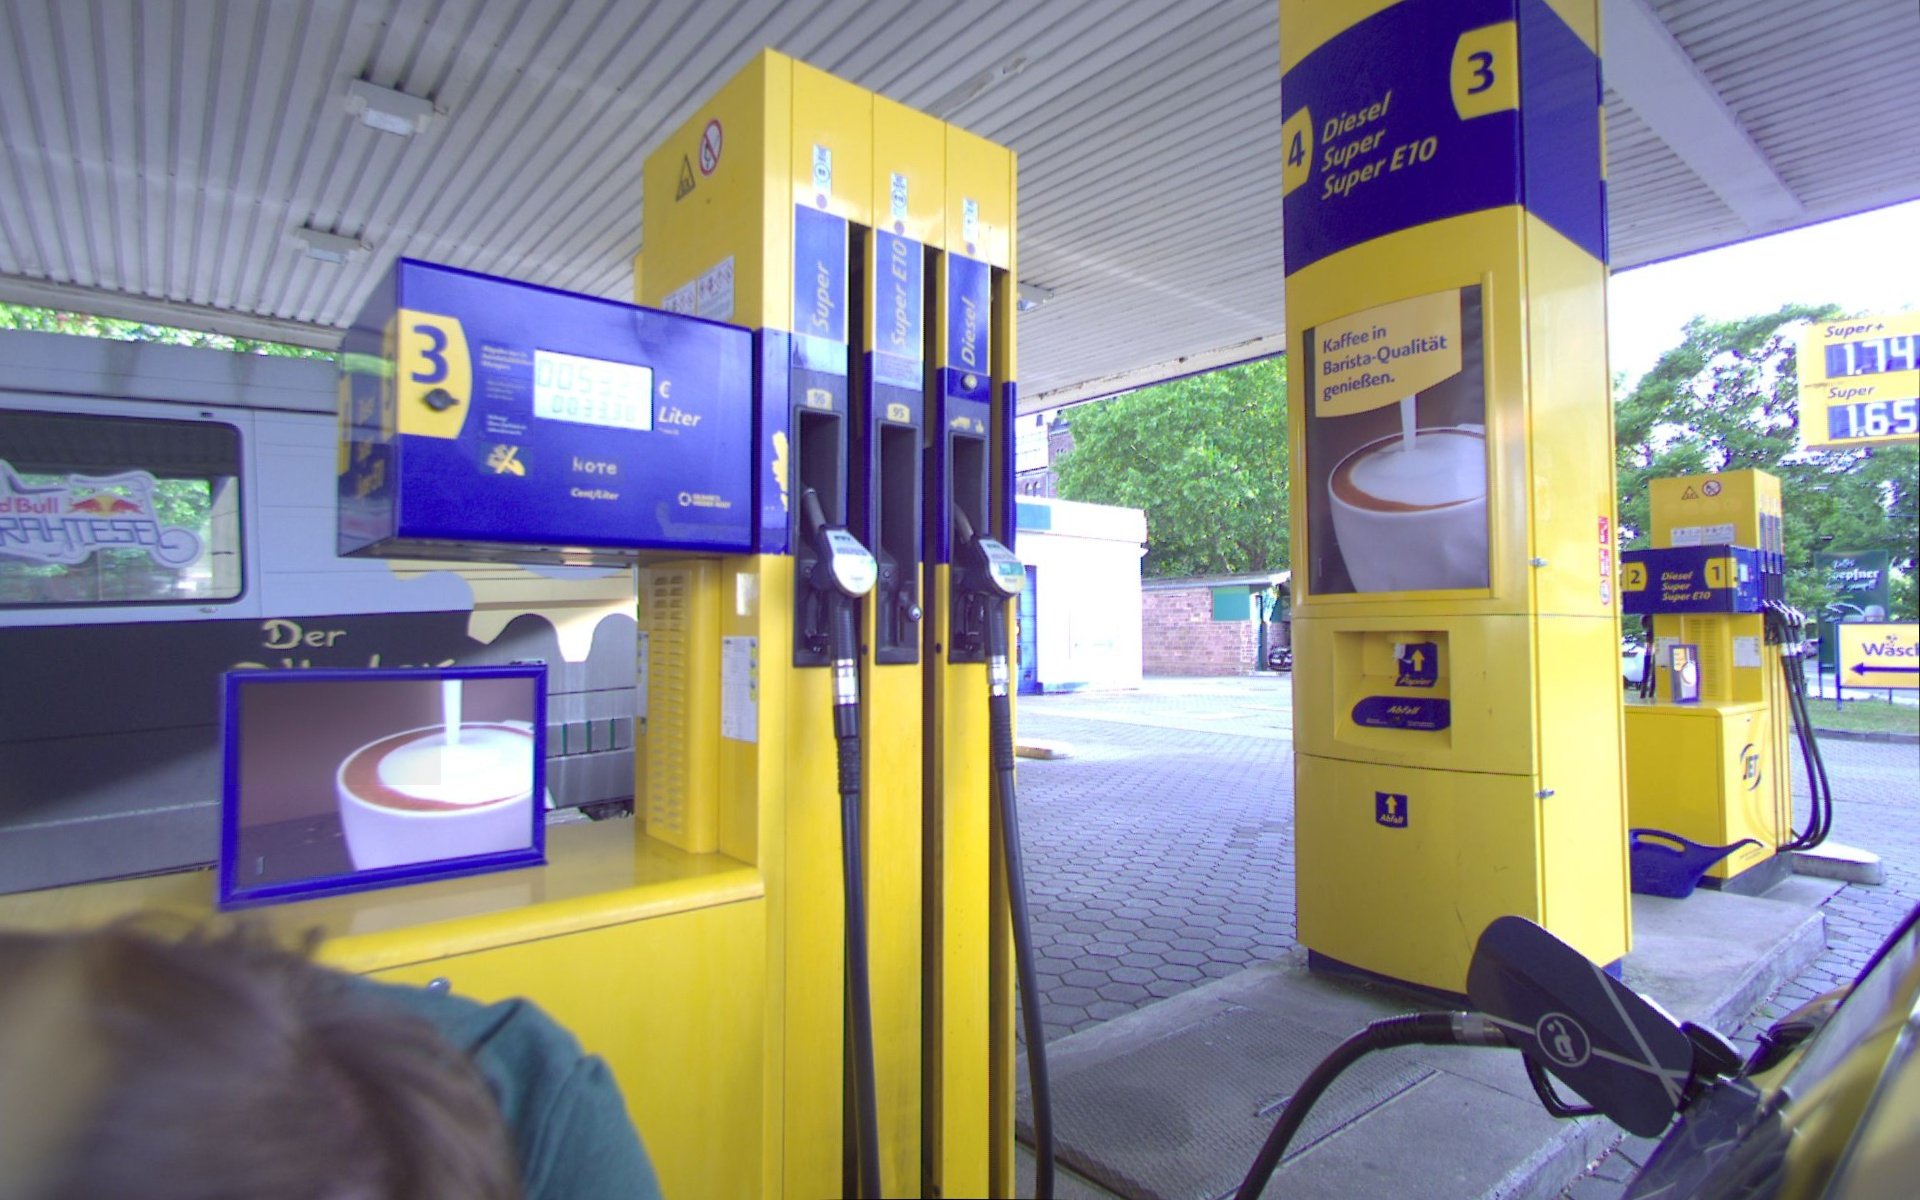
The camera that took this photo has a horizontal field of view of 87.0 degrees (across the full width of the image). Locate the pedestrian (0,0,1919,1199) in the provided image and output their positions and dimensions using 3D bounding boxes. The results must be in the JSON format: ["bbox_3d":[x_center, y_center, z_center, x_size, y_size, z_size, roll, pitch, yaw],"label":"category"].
[{"bbox_3d":[-0.330,0.525,0.565,0.975,1.750,1.182,-2,1,-36],"label":"pedestrian"}]

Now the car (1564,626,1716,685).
[{"bbox_3d":[18.256,1.482,27.134,4.112,1.478,1.826,2,-3,-31],"label":"car"}]

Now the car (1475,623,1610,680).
[{"bbox_3d":[17.772,1.573,30.850,4.112,1.606,1.826,2,-3,-31],"label":"car"}]

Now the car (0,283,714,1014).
[{"bbox_3d":[-4.096,0.191,4.855,5.248,2.760,2.201,0,-1,-39],"label":"car"}]

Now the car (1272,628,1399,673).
[{"bbox_3d":[12.644,1.694,34.032,4.112,1.453,1.826,2,-3,-31],"label":"car"}]

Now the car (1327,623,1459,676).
[{"bbox_3d":[13.784,1.564,32.169,4.112,1.606,1.826,2,-3,-31],"label":"car"}]
